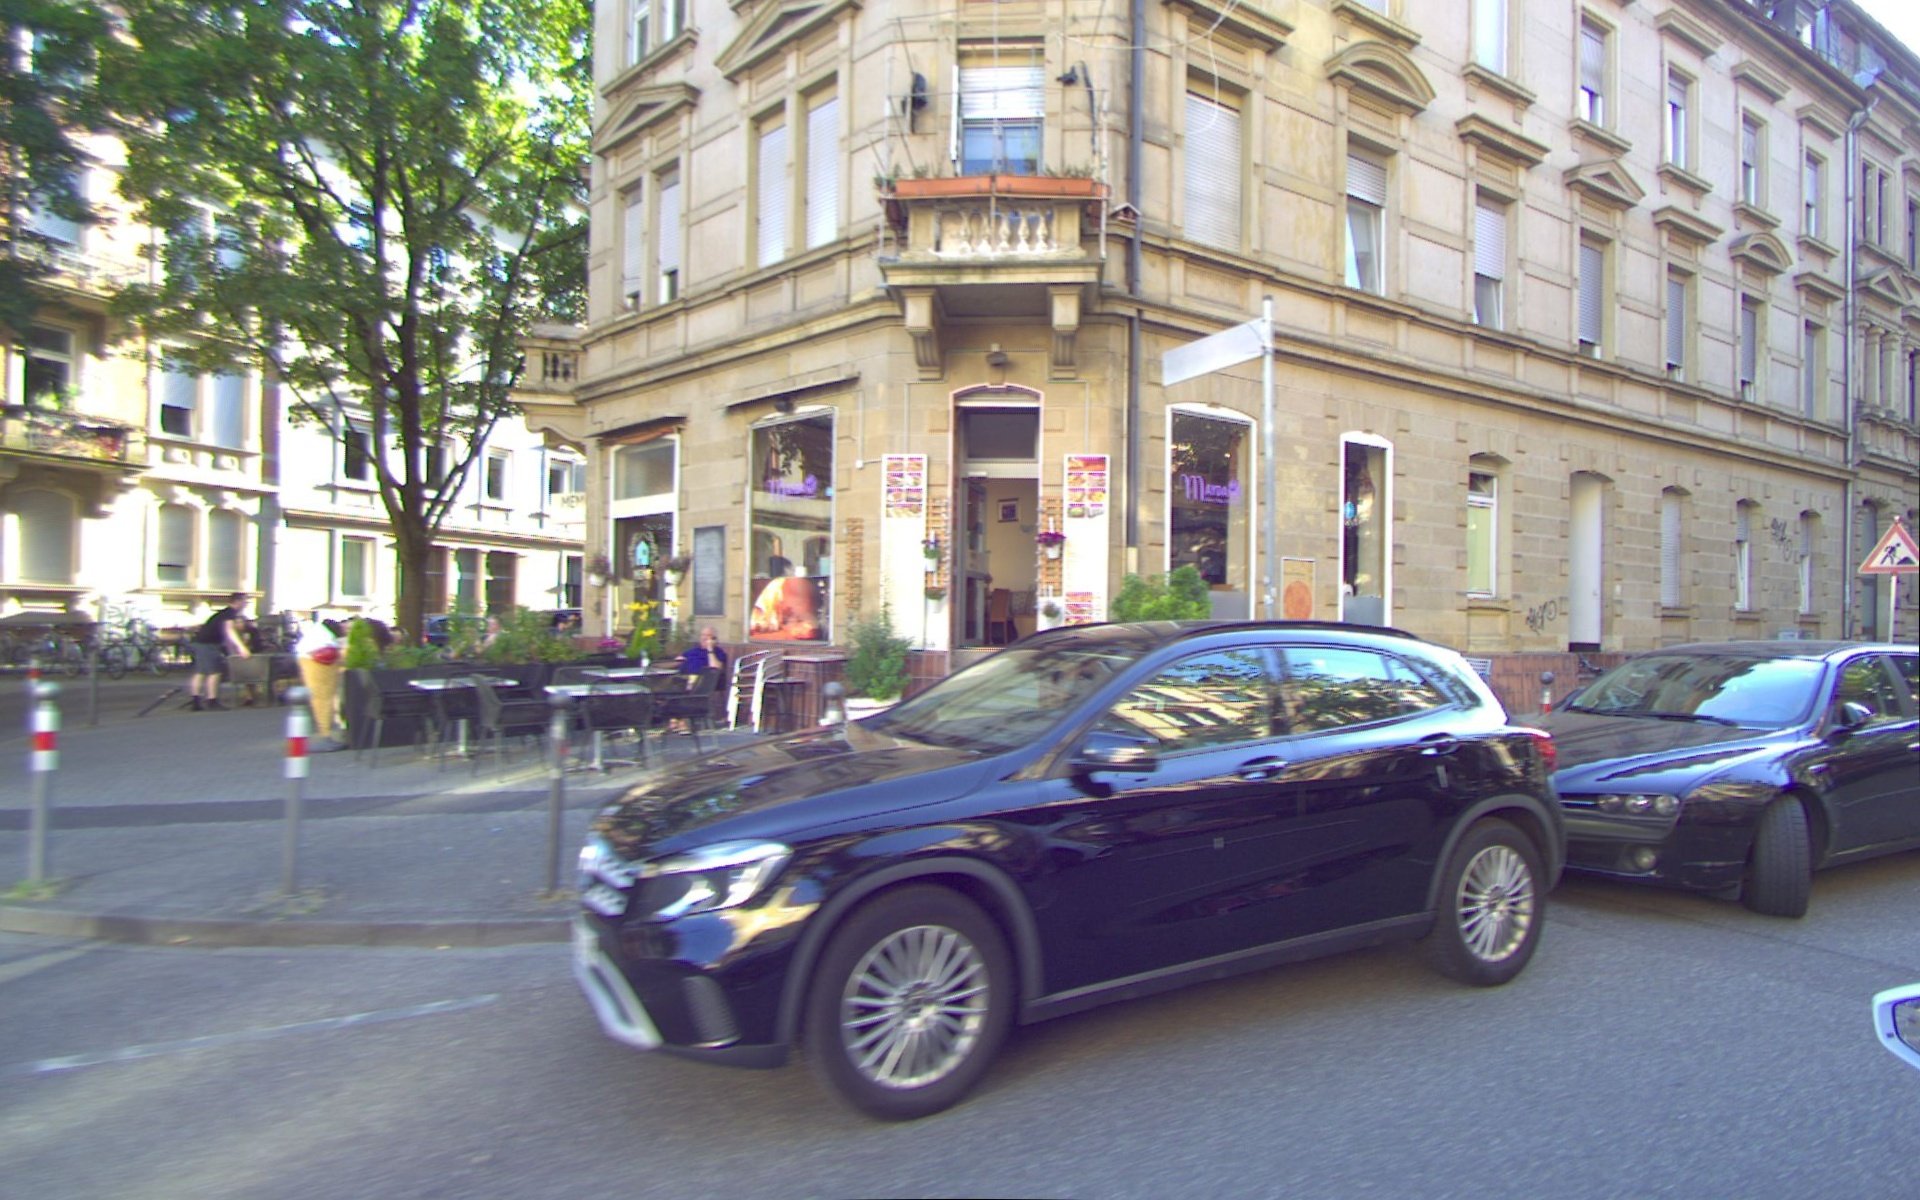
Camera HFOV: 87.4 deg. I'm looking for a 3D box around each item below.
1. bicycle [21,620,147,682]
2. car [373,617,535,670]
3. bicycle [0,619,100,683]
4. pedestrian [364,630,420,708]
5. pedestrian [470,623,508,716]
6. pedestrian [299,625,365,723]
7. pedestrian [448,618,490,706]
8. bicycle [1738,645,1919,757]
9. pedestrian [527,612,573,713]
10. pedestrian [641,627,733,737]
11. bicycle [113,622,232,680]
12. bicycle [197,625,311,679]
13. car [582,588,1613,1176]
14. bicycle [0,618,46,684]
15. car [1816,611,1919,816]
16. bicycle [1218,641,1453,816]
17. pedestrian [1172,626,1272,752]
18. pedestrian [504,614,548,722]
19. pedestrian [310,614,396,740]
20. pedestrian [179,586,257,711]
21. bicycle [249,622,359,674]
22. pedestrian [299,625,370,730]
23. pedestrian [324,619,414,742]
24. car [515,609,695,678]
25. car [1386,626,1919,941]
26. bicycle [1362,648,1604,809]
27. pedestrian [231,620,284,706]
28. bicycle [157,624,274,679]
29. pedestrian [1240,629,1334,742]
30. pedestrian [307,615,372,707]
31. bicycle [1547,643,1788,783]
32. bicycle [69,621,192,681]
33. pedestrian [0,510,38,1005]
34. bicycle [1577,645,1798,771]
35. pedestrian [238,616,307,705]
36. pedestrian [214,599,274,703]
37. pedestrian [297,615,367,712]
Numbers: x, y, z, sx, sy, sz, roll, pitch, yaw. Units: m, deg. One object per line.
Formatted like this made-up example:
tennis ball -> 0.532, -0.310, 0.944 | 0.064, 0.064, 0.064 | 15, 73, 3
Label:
bicycle -> -18.122, 1.023, 20.755 | 3.077, 1.196, 0.751 | 0, -1, 25
car -> -14.363, 1.203, 28.714 | 1.893, 1.394, 3.749 | 0, -1, 25
bicycle -> -18.460, 0.984, 20.041 | 3.077, 1.196, 0.751 | 0, -1, 25
pedestrian -> -9.179, 1.100, 16.254 | 0.667, 1.231, 0.665 | 0, -2, -20
pedestrian -> -6.558, 0.950, 13.978 | 0.429, 1.265, 0.478 | 0, -1, -33
pedestrian -> -8.499, 0.972, 13.598 | 0.741, 1.265, 0.700 | 0, -1, -33
pedestrian -> -7.230, 0.904, 14.802 | 0.505, 1.265, 0.478 | 0, -1, -33
bicycle -> 10.360, 1.143, 11.797 | 0.522, 1.143, 1.858 | 1, 0, -30
pedestrian -> -6.032, 0.897, 14.772 | 0.478, 1.450, 0.563 | 0, -1, -41
pedestrian -> -3.191, 0.934, 11.757 | 0.717, 1.230, 0.753 | 0, -1, 40
bicycle -> -17.466, 1.108, 22.259 | 3.077, 1.196, 0.751 | 0, -1, 25
bicycle -> -16.730, 1.196, 23.778 | 3.077, 1.196, 0.751 | 0, -1, 25
car -> 0.640, 0.793, 4.287 | 4.084, 1.507, 1.753 | 1, -2, -26
bicycle -> -18.828, 0.948, 19.277 | 3.077, 1.196, 0.751 | 0, -1, 25
car -> 9.674, 0.916, 8.773 | 4.491, 1.621, 1.752 | 1, -2, -27
bicycle -> 2.913, 0.944, 8.007 | 0.522, 1.143, 1.860 | 1, 0, -28
pedestrian -> 2.790, 0.920, 10.720 | 0.748, 1.275, 0.721 | 1, -1, -33
pedestrian -> -5.717, 0.881, 13.229 | 0.430, 1.385, 0.477 | 0, -1, -39
pedestrian -> -7.192, 0.882, 11.894 | 0.722, 1.429, 0.747 | 2, -1, -43
pedestrian -> -10.984, 0.709, 14.891 | 0.755, 1.793, 0.570 | 0, -2, -19
bicycle -> -16.215, 1.168, 24.799 | 3.077, 1.196, 0.751 | 0, -1, 25
pedestrian -> -8.003, 0.952, 12.845 | 0.741, 1.265, 1.015 | 0, -1, -33
pedestrian -> -6.587, 0.867, 11.199 | 0.737, 1.306, 0.737 | 2, -1, -41
car -> -8.481, 1.037, 24.287 | 3.764, 1.582, 1.802 | 1, -1, -6
car -> 5.064, 0.934, 6.491 | 4.489, 1.471, 1.753 | 1, -2, -26
bicycle -> 4.414, 1.029, 8.637 | 0.522, 1.143, 1.860 | 1, 0, -28
pedestrian -> -11.142, 0.982, 15.945 | 0.563, 1.338, 0.503 | 0, -1, -20
bicycle -> -17.071, 1.152, 23.005 | 3.077, 1.196, 0.751 | 0, -1, 25
pedestrian -> 3.745, 0.957, 11.533 | 0.749, 1.230, 0.721 | 1, -1, -33
pedestrian -> -10.159, 0.993, 16.482 | 0.755, 1.460, 0.665 | 0, -2, -18
bicycle -> 6.757, 1.028, 9.718 | 0.522, 1.143, 1.860 | 1, 0, -28
bicycle -> -17.788, 1.066, 21.515 | 3.077, 1.196, 0.751 | 0, -1, 25
pedestrian -> -4.160, 0.621, 3.801 | 0.835, 1.923, 1.106 | 1, -1, -37
bicycle -> 7.675, 1.093, 10.707 | 0.522, 1.143, 1.860 | 1, 0, -28
pedestrian -> -11.286, 0.986, 16.517 | 0.754, 1.430, 0.666 | 0, -2, -17
pedestrian -> -11.993, 0.841, 16.852 | 0.759, 1.691, 0.662 | 1, -2, -32
pedestrian -> -9.712, 0.966, 15.557 | 0.755, 1.460, 0.665 | 0, -2, -18
